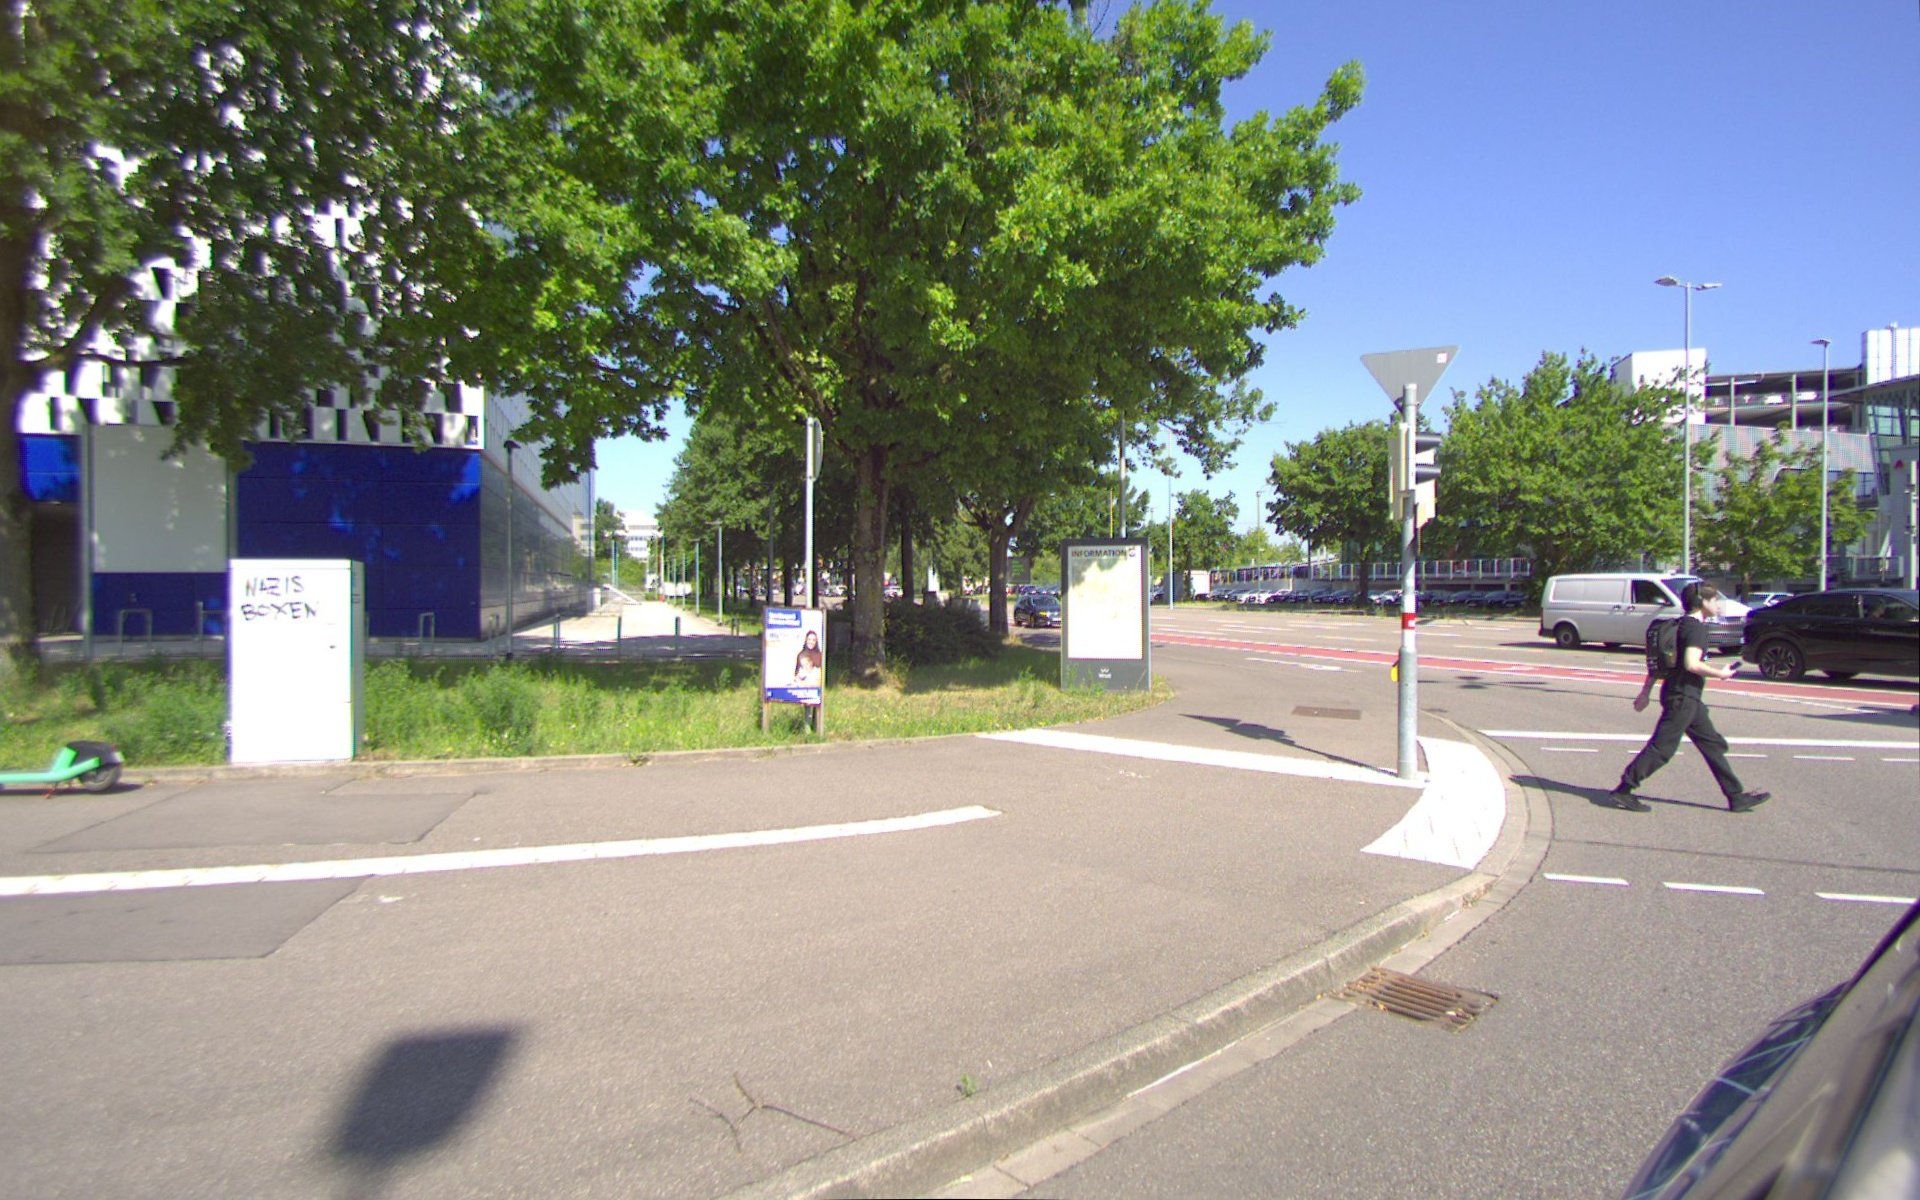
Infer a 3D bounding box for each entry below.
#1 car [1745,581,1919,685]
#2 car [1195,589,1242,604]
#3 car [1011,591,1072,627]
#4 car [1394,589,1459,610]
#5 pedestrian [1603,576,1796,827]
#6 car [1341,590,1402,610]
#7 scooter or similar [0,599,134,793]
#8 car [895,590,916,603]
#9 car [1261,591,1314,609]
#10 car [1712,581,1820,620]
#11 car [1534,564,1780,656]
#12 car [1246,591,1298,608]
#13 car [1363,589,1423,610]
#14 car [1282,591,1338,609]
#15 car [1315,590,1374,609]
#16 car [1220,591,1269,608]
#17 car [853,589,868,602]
[{"bbox_3d":[15.941,0.511,16.714,1.679,1.648,4.512,-1,0,-18],"label":"car"},{"bbox_3d":[21.392,-0.290,83.808,3.345,1.265,1.599,0,0,-12],"label":"car"},{"bbox_3d":[3.694,0.363,46.416,1.735,1.483,4.247,-1,1,-10],"label":"car"},{"bbox_3d":[28.417,-0.026,61.680,3.345,1.265,1.599,0,0,-12],"label":"car"},{"bbox_3d":[5.589,0.721,7.701,0.943,1.802,0.705,0,0,8],"label":"pedestrian"},{"bbox_3d":[26.856,0.017,66.021,3.345,1.265,1.599,0,0,-12],"label":"car"},{"bbox_3d":[-5.986,0.597,6.422,1.162,1.181,0.403,-1,0,1],"label":"scooter or similar"},{"bbox_3d":[-7.351,-0.426,136.049,2.124,1.696,4.522,-1,0,-12],"label":"car"},{"bbox_3d":[23.973,-0.022,74.054,3.345,1.265,1.599,0,0,-12],"label":"car"},{"bbox_3d":[34.016,0.022,42.726,3.806,1.593,1.790,0,0,-19],"label":"car"},{"bbox_3d":[17.041,0.180,25.112,1.704,2.032,5.011,-1,1,-18],"label":"car"},{"bbox_3d":[23.456,-0.027,76.154,3.345,1.265,1.599,0,0,-12],"label":"car"},{"bbox_3d":[27.379,-0.034,64.028,3.104,1.341,1.644,0,0,-12],"label":"car"},{"bbox_3d":[24.726,-0.012,71.507,3.345,1.265,1.599,0,0,-12],"label":"car"},{"bbox_3d":[25.888,-0.022,68.155,3.346,1.265,1.598,0,0,-11],"label":"car"},{"bbox_3d":[22.218,-0.040,79.125,3.345,1.265,1.599,0,0,-12],"label":"car"},{"bbox_3d":[-16.308,-0.778,165.953,1.958,2.039,4.008,-1,0,-14],"label":"car"}]
